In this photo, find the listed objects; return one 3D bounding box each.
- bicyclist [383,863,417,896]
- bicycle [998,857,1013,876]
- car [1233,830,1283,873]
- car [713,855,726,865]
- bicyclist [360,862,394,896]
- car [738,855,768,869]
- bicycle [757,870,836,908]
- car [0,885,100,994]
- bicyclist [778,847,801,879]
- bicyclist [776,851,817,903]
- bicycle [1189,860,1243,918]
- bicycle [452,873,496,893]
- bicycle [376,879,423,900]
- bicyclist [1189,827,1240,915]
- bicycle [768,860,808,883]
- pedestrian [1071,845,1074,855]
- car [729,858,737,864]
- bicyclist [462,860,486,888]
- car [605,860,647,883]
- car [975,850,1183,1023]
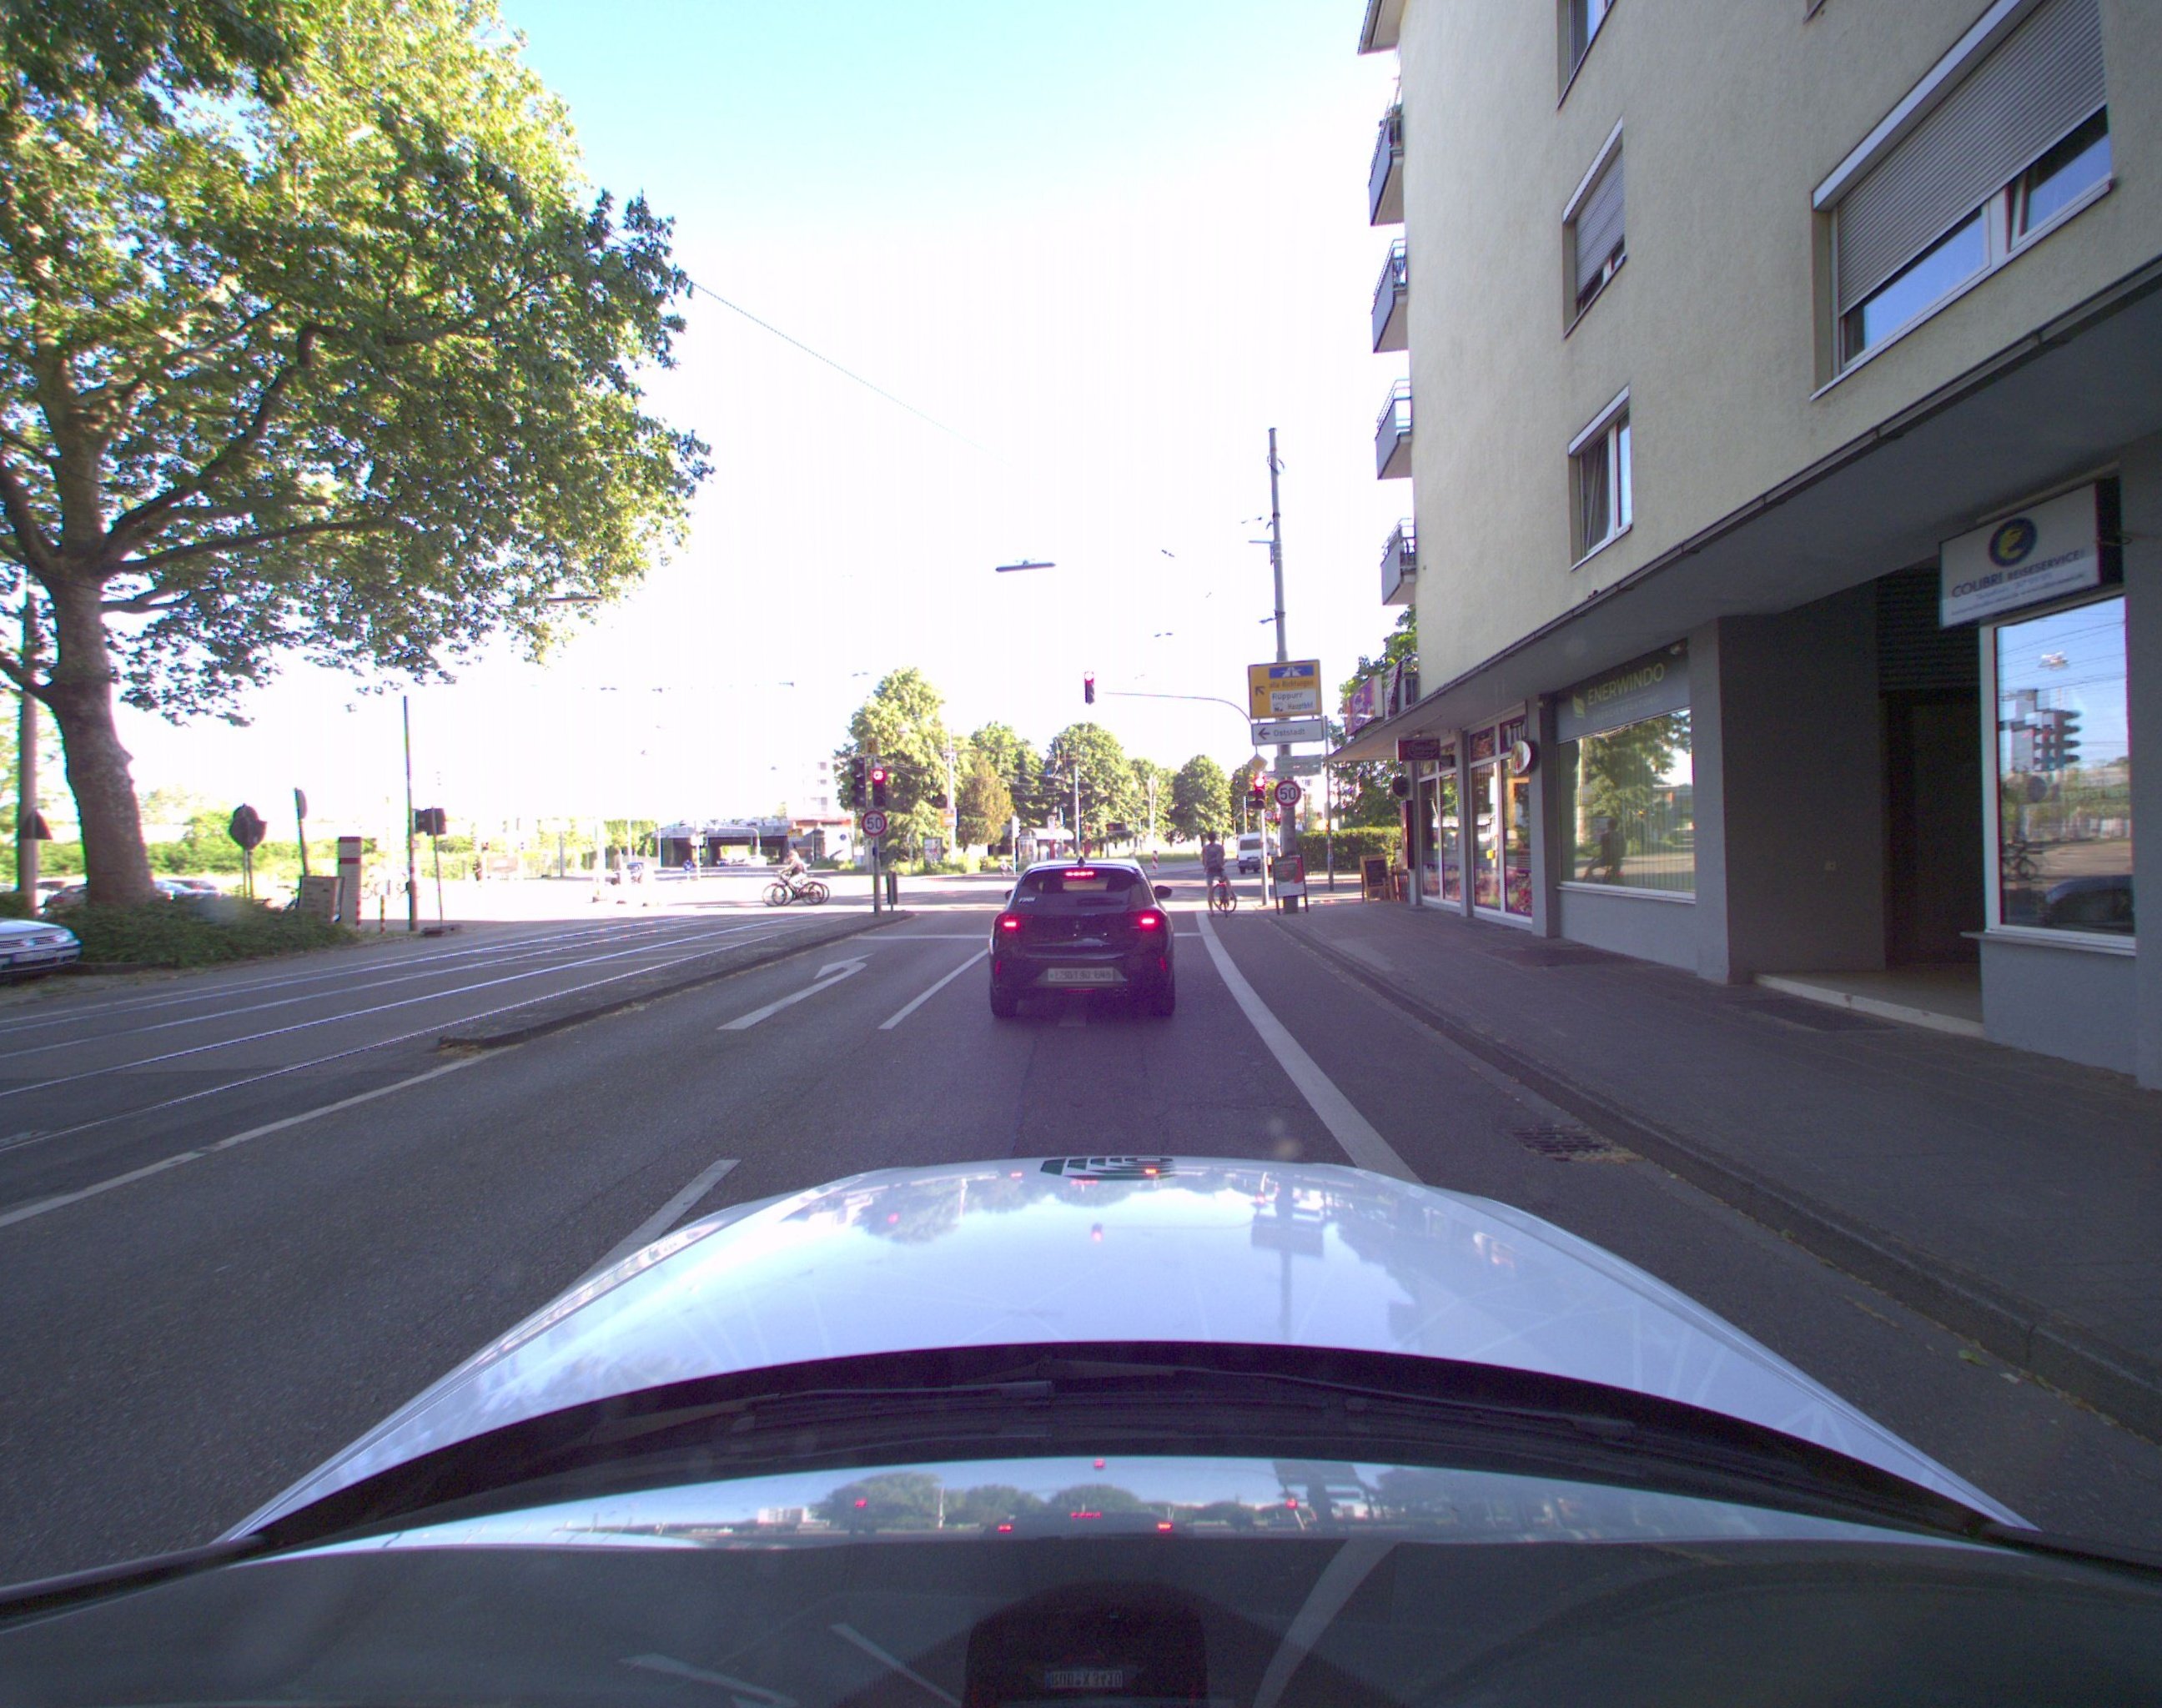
[{"bbox_3d":[-34.357,1.285,41.097,1.003,1.570,0.802,-2,0,13],"label":"bicyclist"},{"bbox_3d":[-4.308,0.726,46.736,0.603,1.031,1.983,-2,0,2],"label":"bicycle"},{"bbox_3d":[10.143,-0.155,46.381,2.046,2.248,4.912,-2,0,20],"label":"car"},{"bbox_3d":[-68.439,1.159,154.321,2.223,1.823,4.114,-2,0,-24],"label":"car"},{"bbox_3d":[-37.005,1.289,42.819,0.924,1.707,0.874,-2,0,-3],"label":"bicyclist"},{"bbox_3d":[-44.732,1.125,111.080,1.720,1.805,4.201,-2,0,10],"label":"car"},{"bbox_3d":[-8.635,1.035,24.769,2.199,1.033,0.828,-2,0,-21],"label":"bicycle"},{"bbox_3d":[-16.959,1.201,11.360,4.497,1.429,1.676,0,0,0],"label":"car"},{"bbox_3d":[-14.995,0.467,41.851,0.853,1.595,0.653,-2,0,23],"label":"bicyclist"},{"bbox_3d":[-8.663,0.681,24.755,1.117,1.520,0.915,-2,0,-21],"label":"bicyclist"},{"bbox_3d":[2.945,0.736,17.966,0.857,1.153,2.172,-2,0,1],"label":"bicycle"},{"bbox_3d":[-35.576,1.712,47.761,0.576,1.060,2.053,-2,0,22],"label":"bicycle"},{"bbox_3d":[-34.361,1.774,41.082,2.044,0.984,0.675,-2,0,12],"label":"bicycle"},{"bbox_3d":[2.921,0.367,17.963,0.938,1.851,0.864,-2,0,1],"label":"bicyclist"},{"bbox_3d":[-15.058,0.903,41.879,2.036,1.094,0.596,-2,0,23],"label":"bicycle"},{"bbox_3d":[-1.165,-0.527,107.844,0.411,1.412,0.436,0,-1,-1],"label":"pedestrian"},{"bbox_3d":[-97.493,1.999,227.842,2.003,1.602,4.213,-2,0,-24],"label":"car"},{"bbox_3d":[-35.599,1.178,47.763,0.629,1.563,0.837,-2,0,22],"label":"bicyclist"},{"bbox_3d":[-31.289,1.160,56.099,1.830,1.519,3.870,0,0,-18],"label":"car"},{"bbox_3d":[0.059,0.685,8.911,1.720,1.429,4.189,-1,0,2],"label":"car"}]
